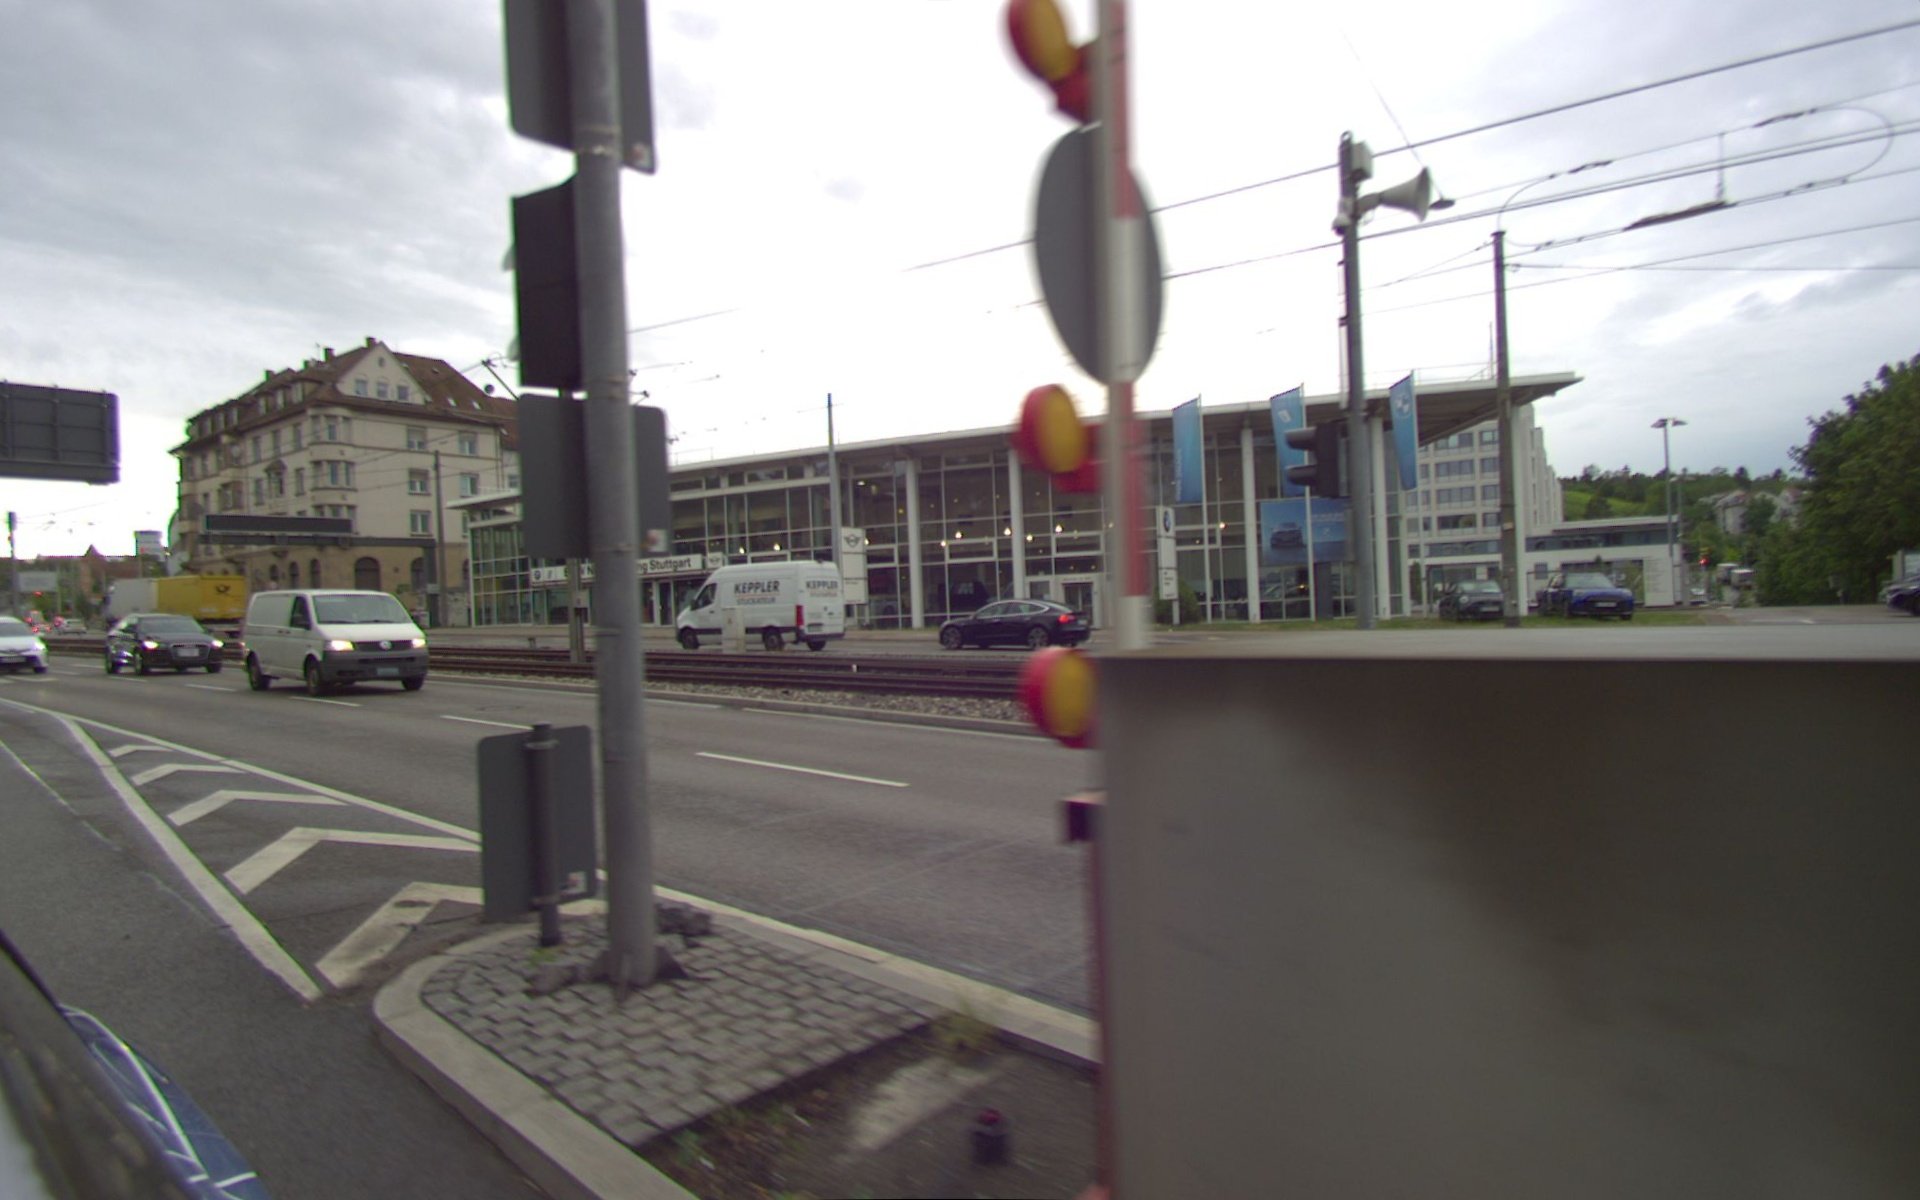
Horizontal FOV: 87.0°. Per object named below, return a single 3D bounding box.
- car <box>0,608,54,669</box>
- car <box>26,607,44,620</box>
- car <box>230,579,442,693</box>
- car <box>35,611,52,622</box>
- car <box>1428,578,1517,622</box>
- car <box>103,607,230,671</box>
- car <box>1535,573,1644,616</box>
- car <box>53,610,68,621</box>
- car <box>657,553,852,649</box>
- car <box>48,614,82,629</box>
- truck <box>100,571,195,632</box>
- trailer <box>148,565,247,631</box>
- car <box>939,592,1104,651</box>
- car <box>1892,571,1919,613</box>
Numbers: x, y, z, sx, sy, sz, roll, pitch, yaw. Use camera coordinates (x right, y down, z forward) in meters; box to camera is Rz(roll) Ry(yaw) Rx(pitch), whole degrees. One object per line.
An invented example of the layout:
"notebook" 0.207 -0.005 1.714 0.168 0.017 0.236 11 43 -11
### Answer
"car" -27.088 1.072 28.177 4.311 1.585 1.959 -2 -1 37
"car" -174.775 2.592 191.289 2.303 2.486 7.037 0 -1 -41
"car" -12.164 0.661 19.615 4.709 1.973 1.892 -2 0 37
"car" -152.799 2.759 168.767 1.808 1.811 4.222 1 -2 -39
"car" 16.434 -0.023 32.625 1.688 1.244 3.980 -4 0 15
"car" -21.103 1.014 26.890 3.889 1.585 1.689 -2 -1 37
"car" 19.363 -0.172 31.312 1.744 1.244 3.980 -1 0 15
"car" -162.482 2.845 182.860 1.808 1.811 4.222 1 -2 -39
"car" -6.220 0.078 30.204 6.152 2.618 2.033 -1 0 36
"car" -85.663 2.050 96.845 3.844 1.415 1.665 -2 0 37
"truck" -57.852 0.189 71.955 10.121 4.082 2.659 -1 -1 36
"trailer" -50.058 -0.026 66.341 9.064 4.082 2.659 -1 -1 36
"car" 1.673 0.590 28.305 4.331 1.527 1.726 -1 0 36
"car" 30.096 -0.279 29.965 3.420 1.253 1.573 -1 0 33
